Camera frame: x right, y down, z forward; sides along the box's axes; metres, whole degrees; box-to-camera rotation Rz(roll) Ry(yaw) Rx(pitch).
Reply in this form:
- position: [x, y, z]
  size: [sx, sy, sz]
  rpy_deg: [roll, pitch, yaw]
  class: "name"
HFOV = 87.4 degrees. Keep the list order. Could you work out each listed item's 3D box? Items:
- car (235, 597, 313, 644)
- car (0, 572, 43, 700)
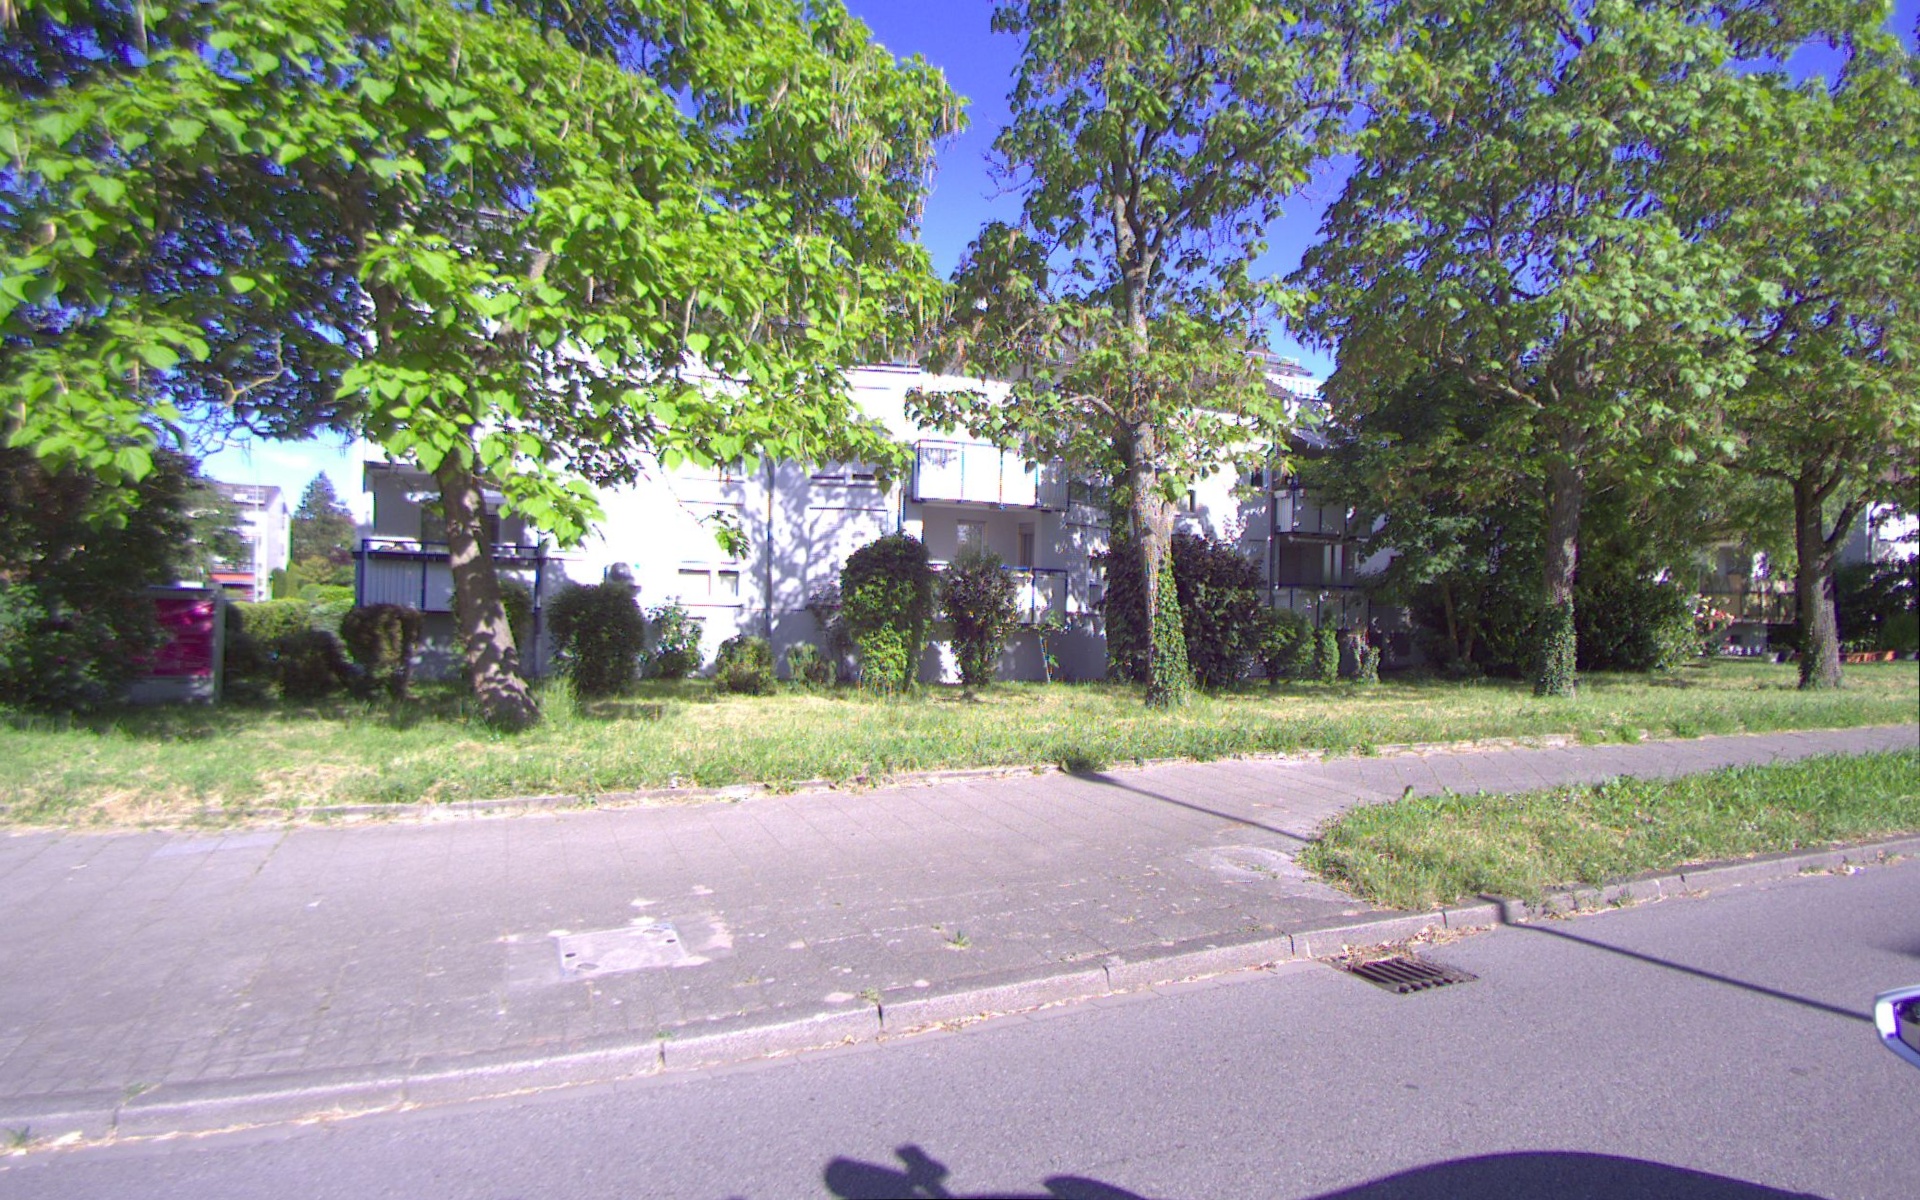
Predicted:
- position: [-27.992, 0.814, 41.111]
  size: [1.973, 1.806, 3.975]
  rpy_deg: [1, -1, -25]
  class: "car"
- position: [-15.706, 0.551, 14.595]
  size: [2.038, 1.995, 4.444]
  rpy_deg: [0, -1, -21]
  class: "car"
